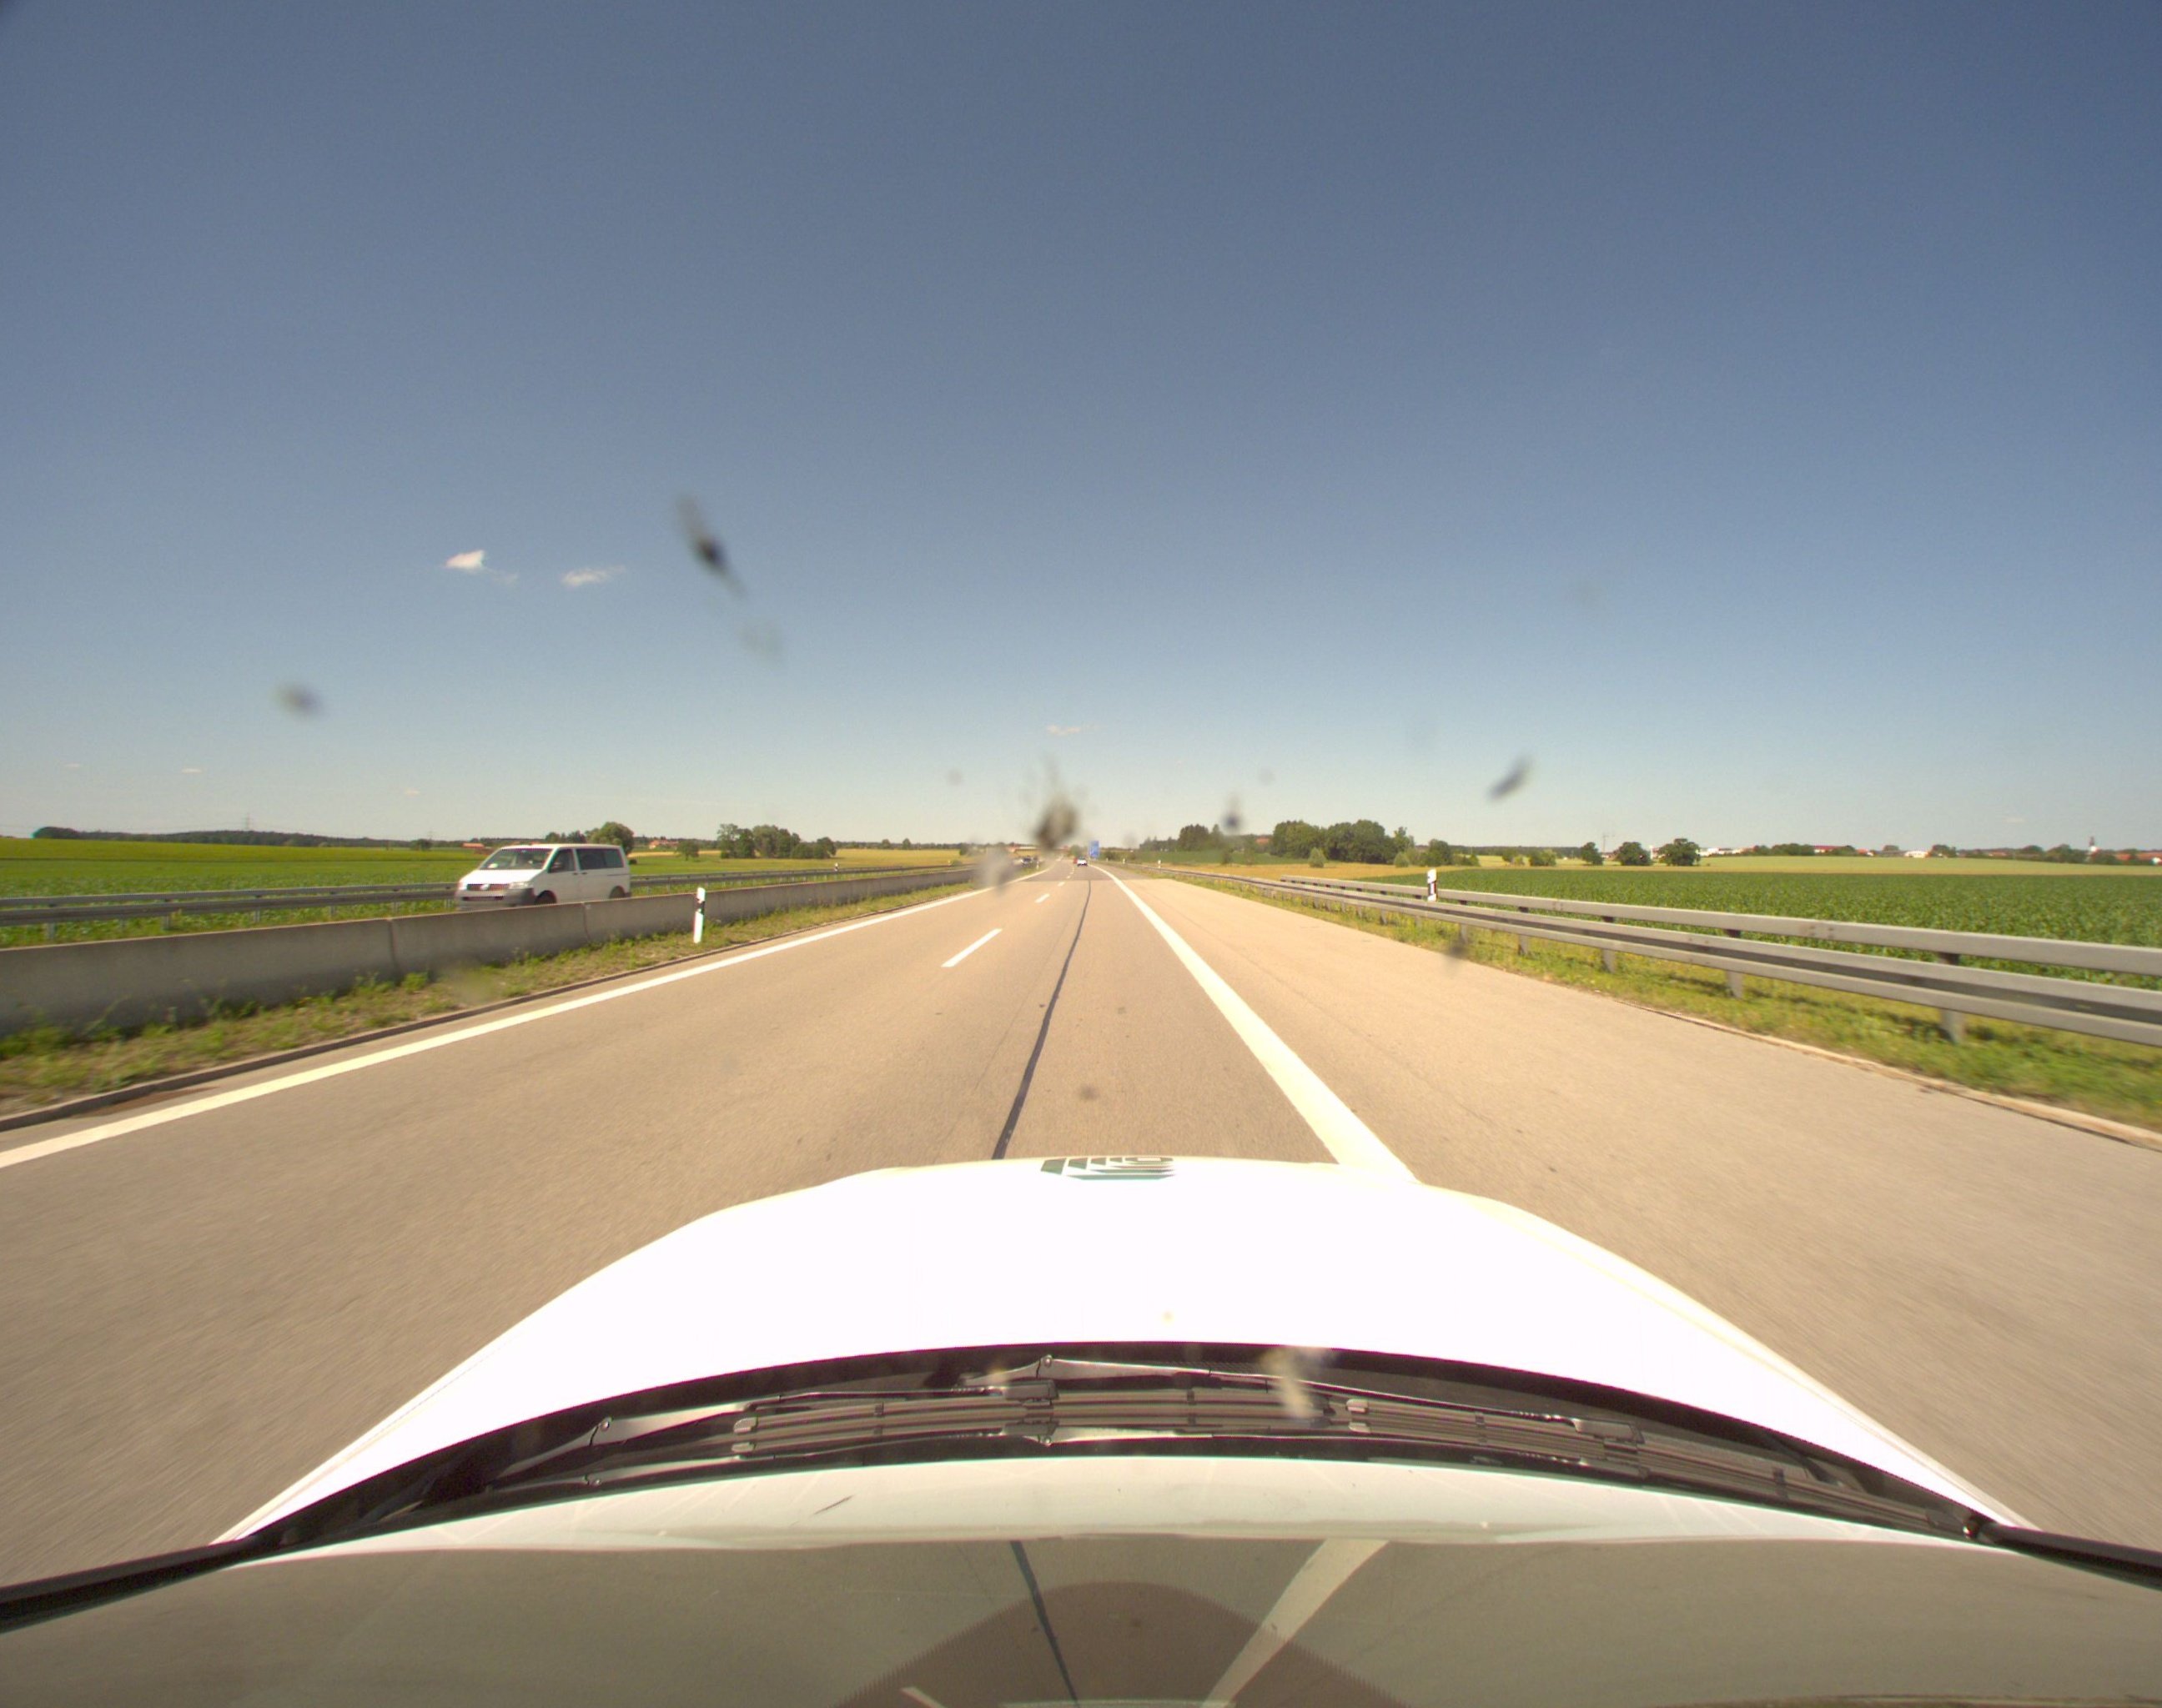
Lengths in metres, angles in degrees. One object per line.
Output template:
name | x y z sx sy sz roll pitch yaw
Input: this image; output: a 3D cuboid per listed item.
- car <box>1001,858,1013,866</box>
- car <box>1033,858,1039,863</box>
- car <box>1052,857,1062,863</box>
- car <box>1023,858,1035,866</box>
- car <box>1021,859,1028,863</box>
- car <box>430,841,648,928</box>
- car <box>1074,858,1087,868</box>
car | -14.463 1.577 159.684 1.817 1.365 4.663 -1 0 0
car | -12.991 1.813 235.939 1.818 1.365 4.656 -1 0 -2
car | -7.484 1.966 256.655 1.997 1.731 4.844 0 0 -15
car | -10.397 1.570 162.454 1.816 1.365 5.198 -1 0 1
car | -16.888 2.101 244.023 1.818 1.365 5.292 -1 0 -1
car | -14.159 0.749 21.859 1.986 2.014 5.615 -1 -1 1
car | -0.063 1.694 150.159 1.991 1.731 4.860 0 0 -5
